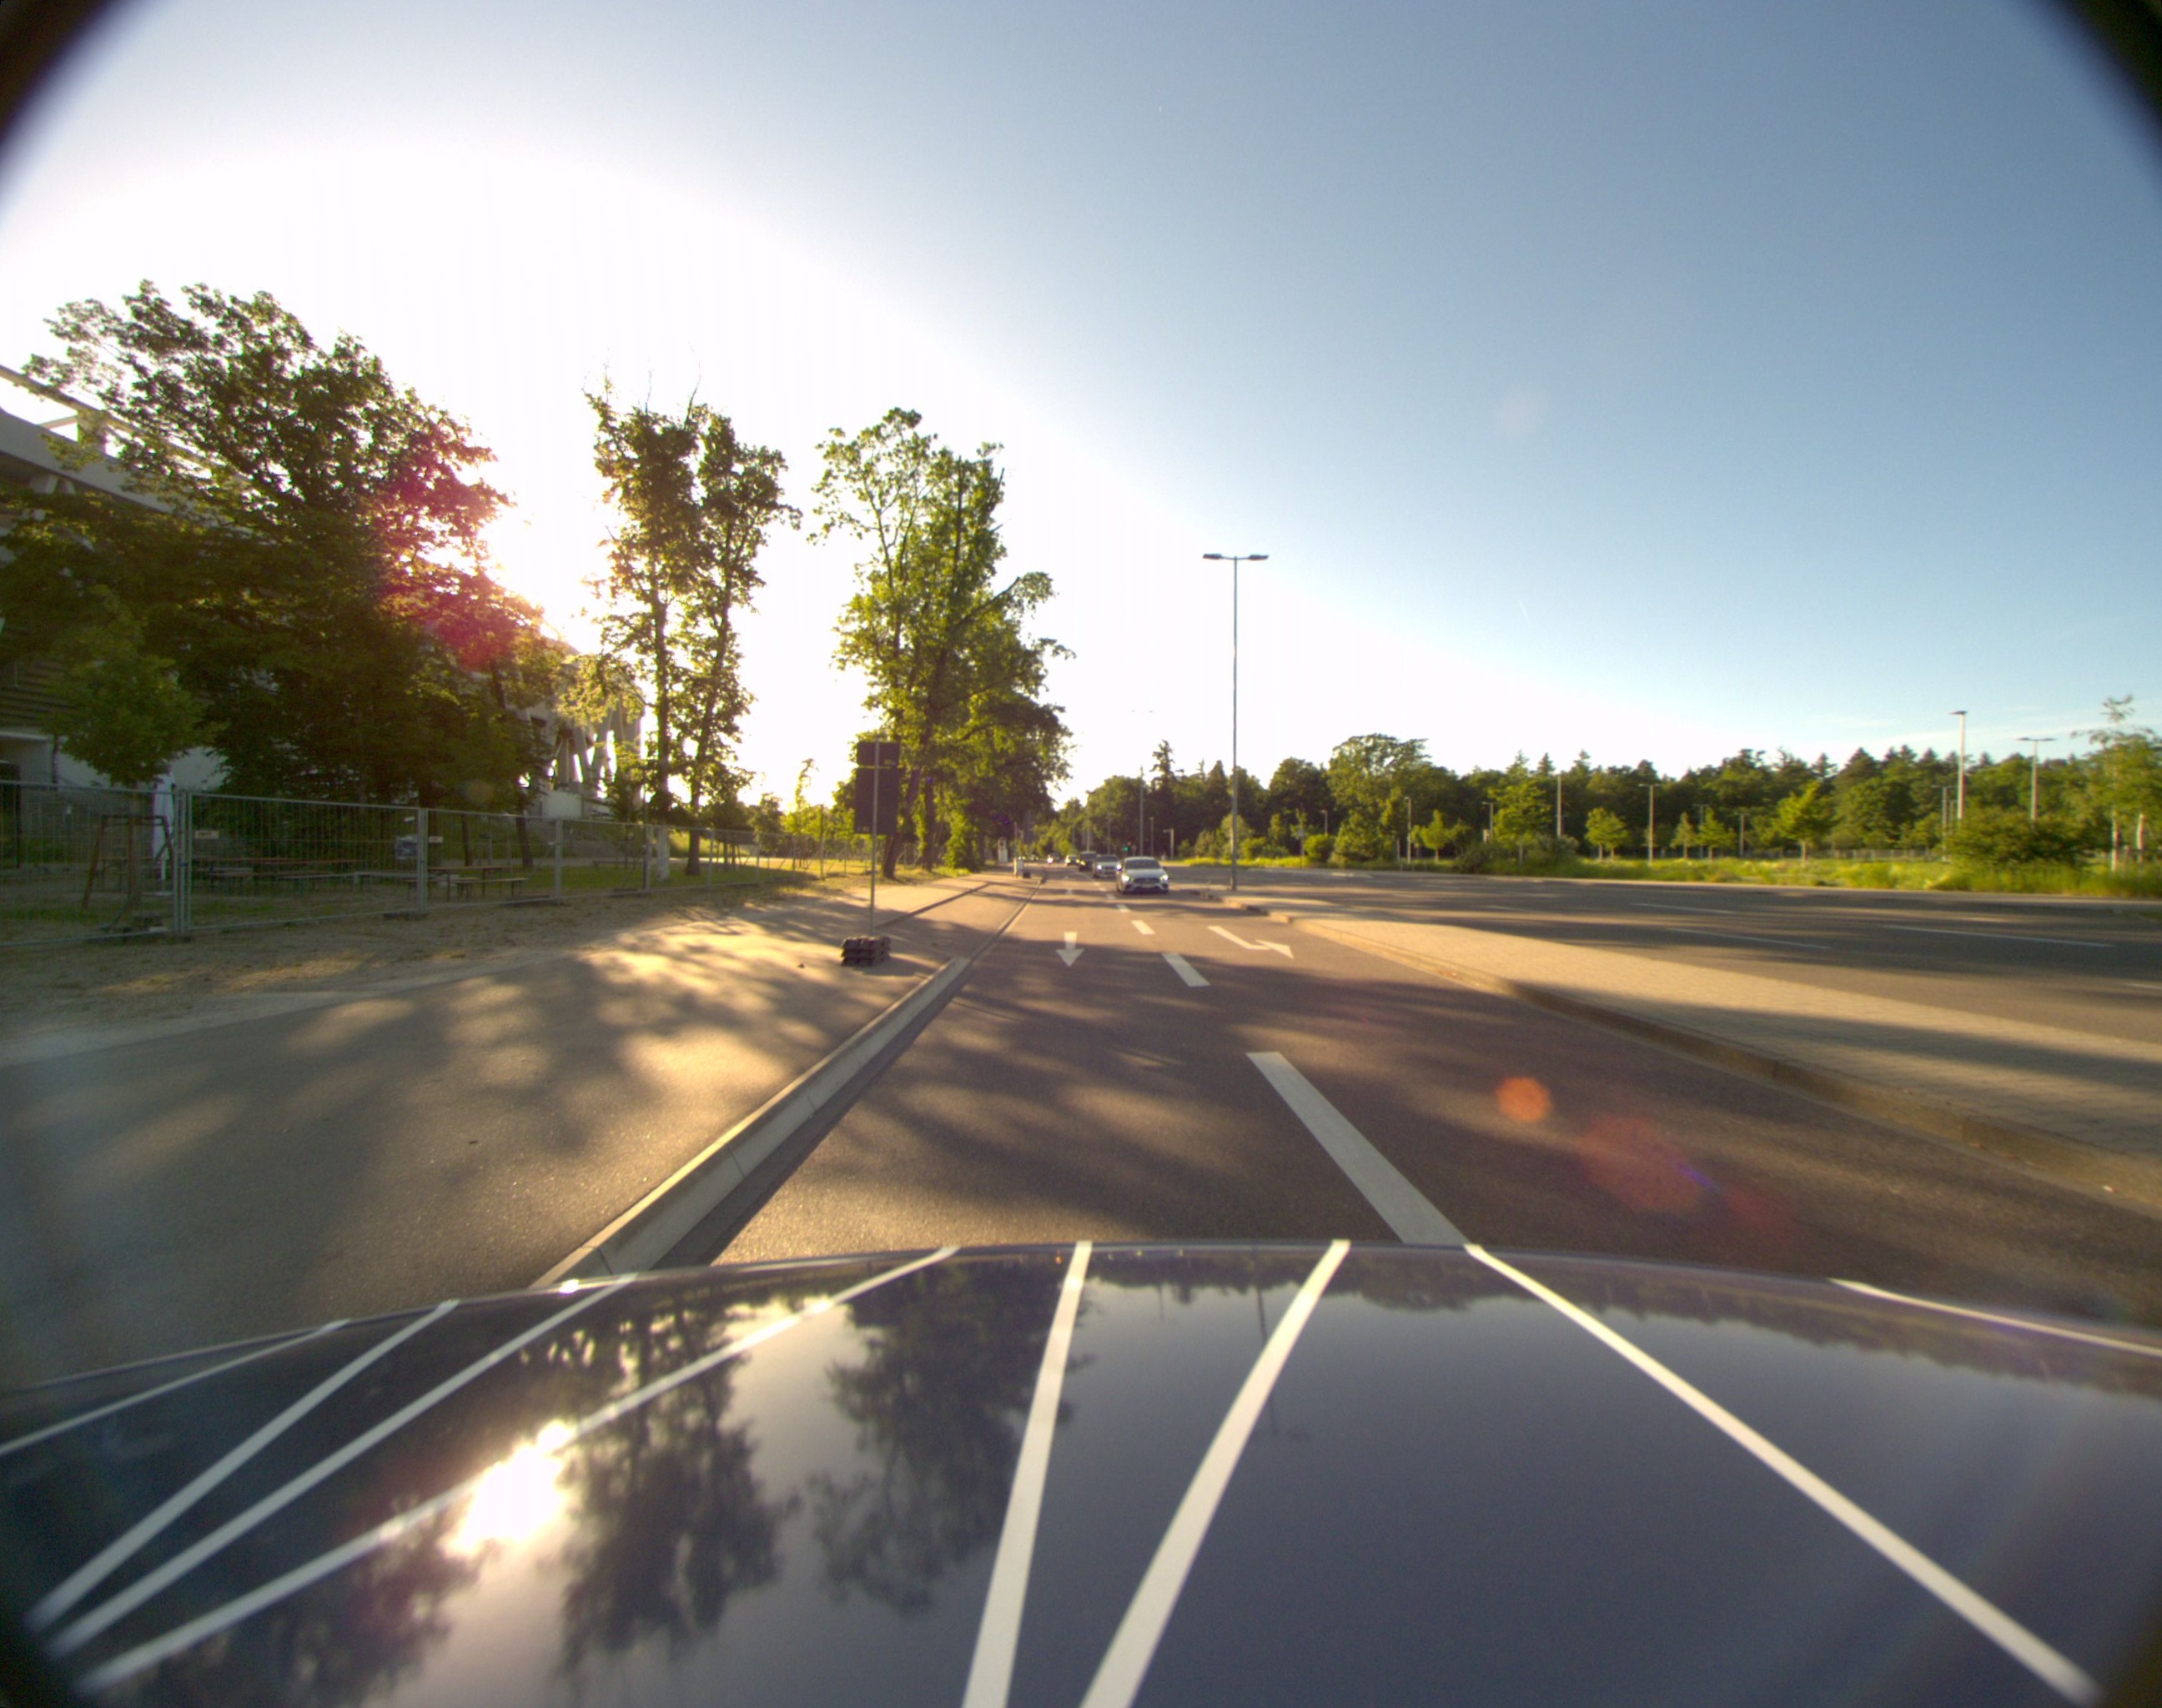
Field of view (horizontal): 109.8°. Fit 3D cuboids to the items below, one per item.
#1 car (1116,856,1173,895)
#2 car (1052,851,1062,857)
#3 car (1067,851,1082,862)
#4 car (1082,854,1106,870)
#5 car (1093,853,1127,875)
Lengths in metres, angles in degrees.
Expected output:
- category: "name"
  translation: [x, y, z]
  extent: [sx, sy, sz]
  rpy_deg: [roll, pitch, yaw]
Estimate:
- category: "car"
  translation: [2.447, 0.814, 30.210]
  extent: [1.841, 1.395, 3.999]
  rpy_deg: [-1, 0, -1]
- category: "car"
  translation: [-5.046, -0.002, 161.624]
  extent: [1.842, 1.395, 4.989]
  rpy_deg: [-1, 0, -4]
- category: "car"
  translation: [-0.911, 0.329, 104.746]
  extent: [1.841, 1.395, 4.990]
  rpy_deg: [-1, 0, -2]
- category: "car"
  translation: [1.196, 0.704, 71.944]
  extent: [1.841, 1.395, 4.990]
  rpy_deg: [-1, 0, -3]
- category: "car"
  translation: [1.851, 0.624, 50.398]
  extent: [1.841, 1.395, 4.990]
  rpy_deg: [-1, 0, -2]
